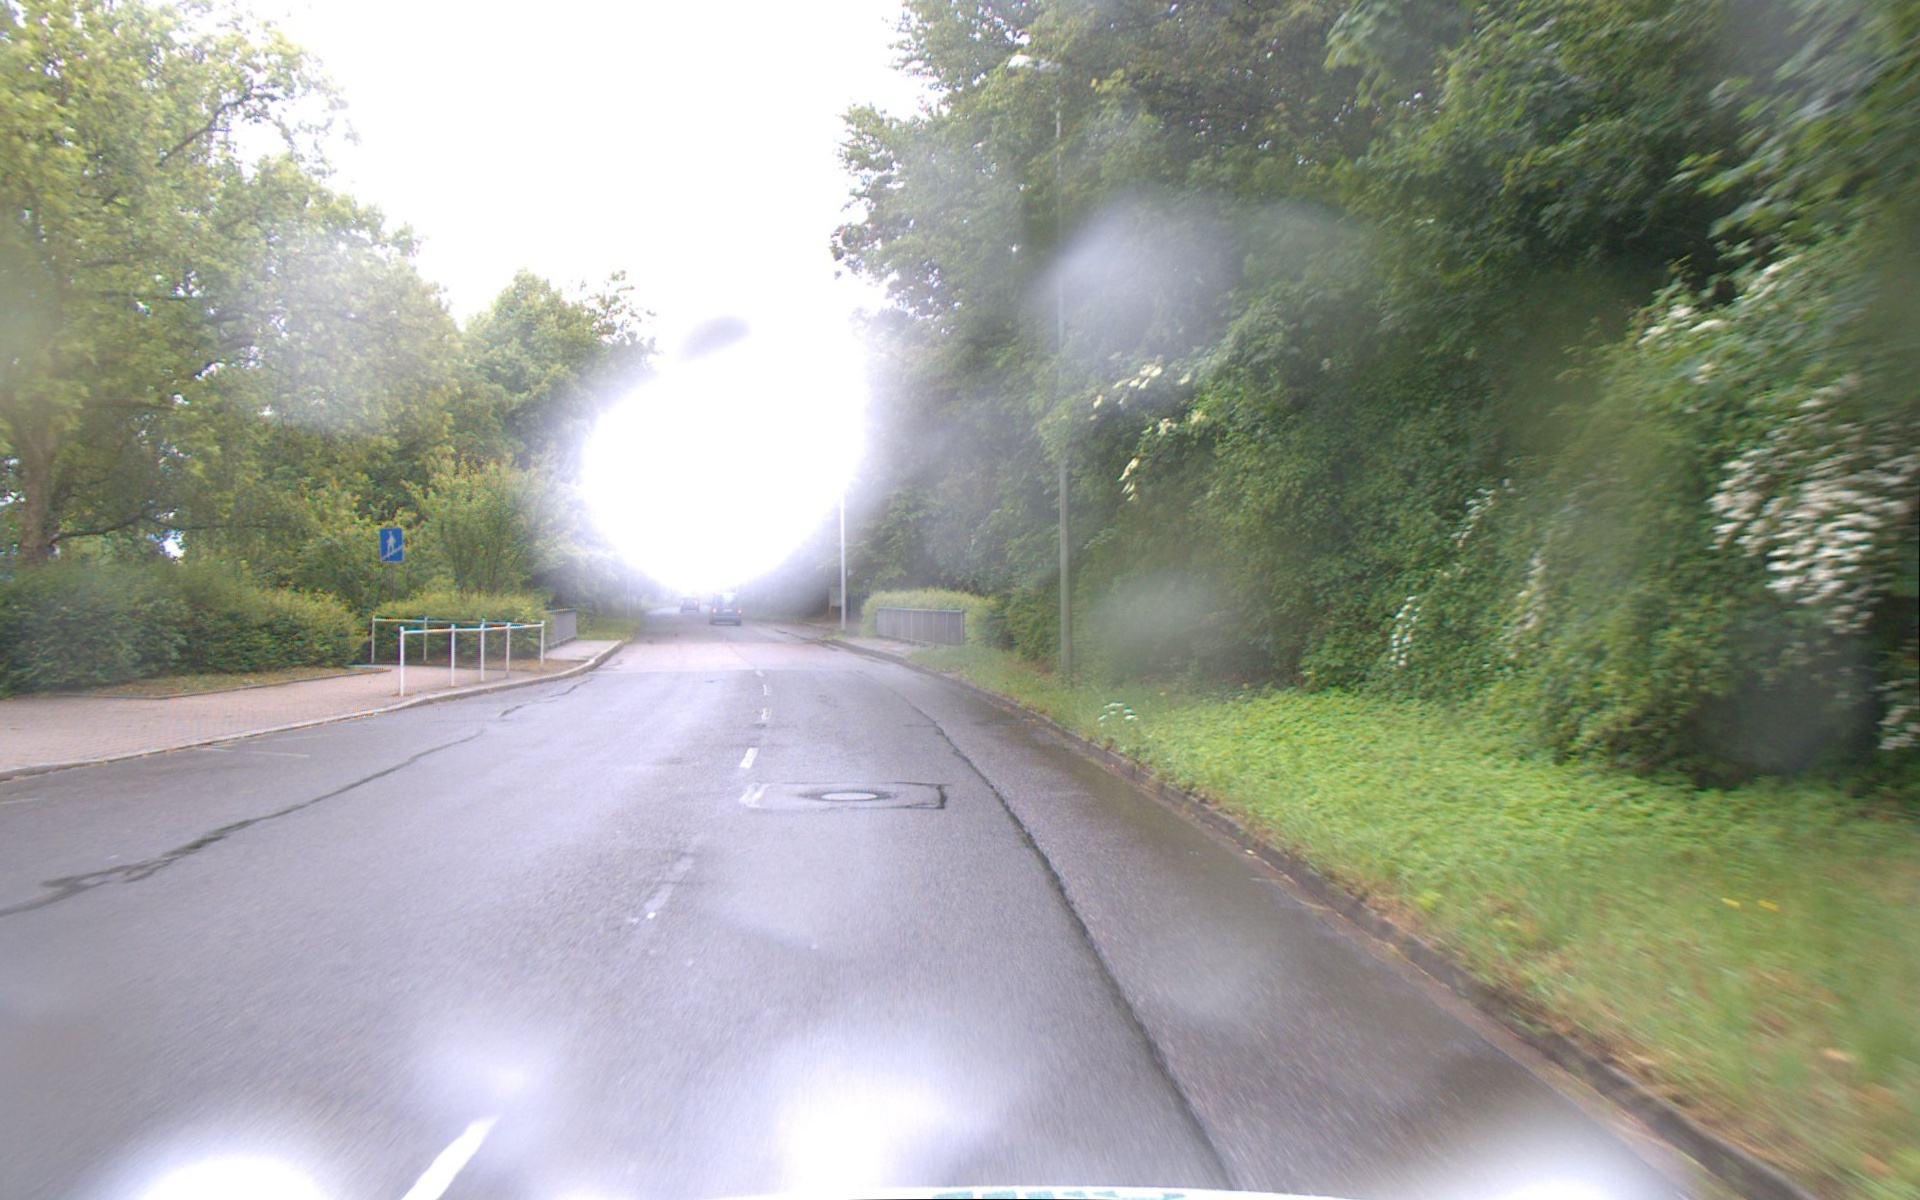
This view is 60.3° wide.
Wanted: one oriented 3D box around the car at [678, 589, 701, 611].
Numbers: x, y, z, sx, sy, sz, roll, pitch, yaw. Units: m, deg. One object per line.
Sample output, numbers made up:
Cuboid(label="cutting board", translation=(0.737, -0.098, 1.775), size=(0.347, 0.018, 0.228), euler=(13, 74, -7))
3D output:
Cuboid(label="car", translation=(-24.455, 0.011, 149.686), size=(1.957, 1.847, 3.990), euler=(1, 0, -10))

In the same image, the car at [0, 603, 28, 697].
Cuboid(label="car", translation=(-16.534, 0.873, 25.795), size=(1.758, 1.536, 3.998), euler=(-3, 0, -2))

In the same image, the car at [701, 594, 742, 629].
Cuboid(label="car", translation=(-13.862, 0.636, 96.172), size=(1.952, 1.959, 3.985), euler=(0, 0, -15))
